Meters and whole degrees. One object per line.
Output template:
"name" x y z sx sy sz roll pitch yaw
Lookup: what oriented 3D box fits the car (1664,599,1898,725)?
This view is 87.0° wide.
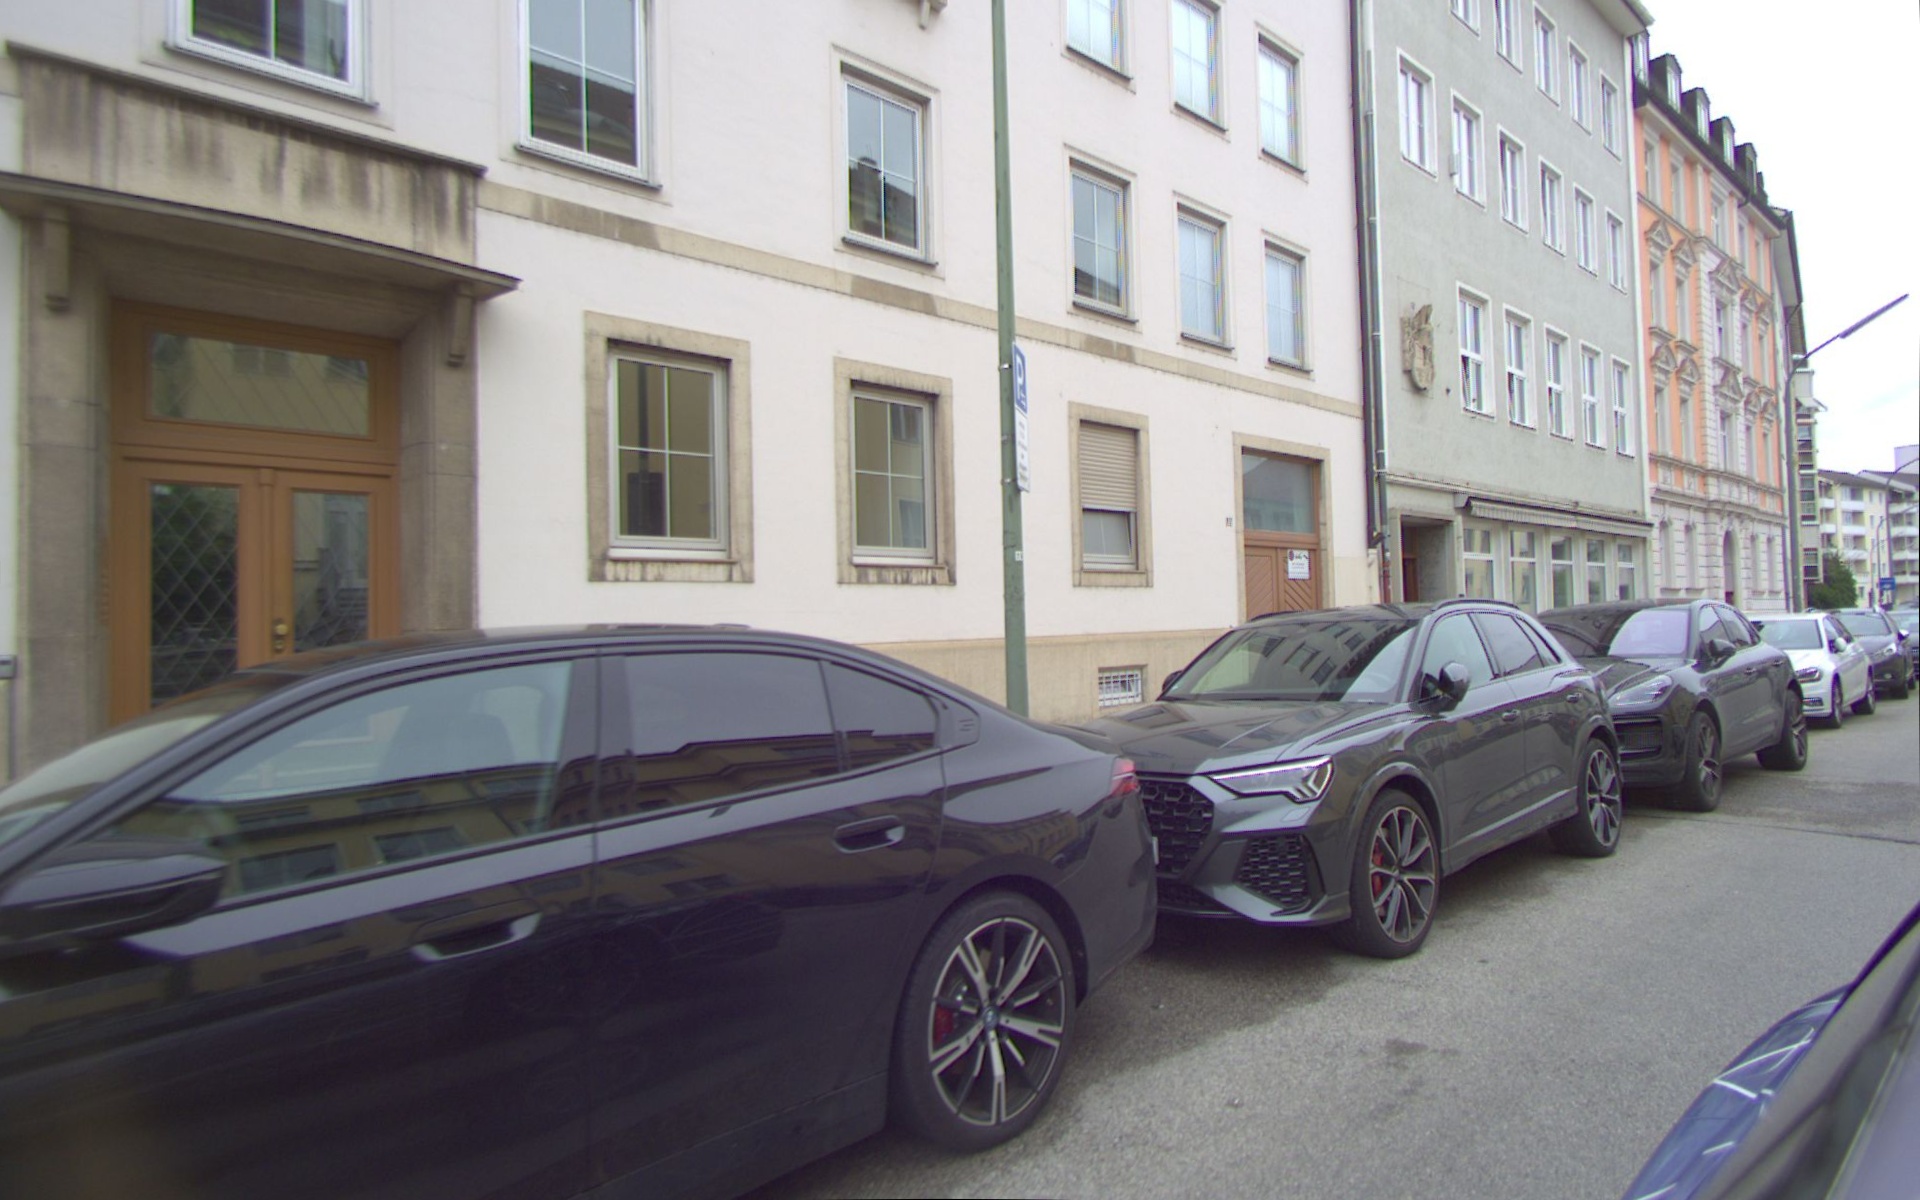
"car" 11.303 0.766 13.835 4.108 1.449 1.743 0 -3 -41

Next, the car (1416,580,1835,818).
"car" 6.037 0.698 8.967 4.411 1.602 1.830 0 -3 -40

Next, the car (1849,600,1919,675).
"car" 20.865 0.753 21.909 4.118 1.485 1.723 0 -4 -40

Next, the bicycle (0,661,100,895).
"bicycle" -5.383 0.904 4.778 2.005 1.093 0.598 0 1 -43

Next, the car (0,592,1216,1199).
"car" -1.489 0.765 2.546 4.620 1.466 1.875 0 -3 -43

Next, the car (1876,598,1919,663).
"car" 25.575 0.722 26.250 4.411 1.593 1.999 0 -4 -40

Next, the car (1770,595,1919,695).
"car" 15.868 0.752 17.785 3.930 1.561 1.766 0 -4 -41

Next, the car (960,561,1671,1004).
"car" 2.286 0.688 5.819 4.411 1.602 1.830 0 -3 -40
